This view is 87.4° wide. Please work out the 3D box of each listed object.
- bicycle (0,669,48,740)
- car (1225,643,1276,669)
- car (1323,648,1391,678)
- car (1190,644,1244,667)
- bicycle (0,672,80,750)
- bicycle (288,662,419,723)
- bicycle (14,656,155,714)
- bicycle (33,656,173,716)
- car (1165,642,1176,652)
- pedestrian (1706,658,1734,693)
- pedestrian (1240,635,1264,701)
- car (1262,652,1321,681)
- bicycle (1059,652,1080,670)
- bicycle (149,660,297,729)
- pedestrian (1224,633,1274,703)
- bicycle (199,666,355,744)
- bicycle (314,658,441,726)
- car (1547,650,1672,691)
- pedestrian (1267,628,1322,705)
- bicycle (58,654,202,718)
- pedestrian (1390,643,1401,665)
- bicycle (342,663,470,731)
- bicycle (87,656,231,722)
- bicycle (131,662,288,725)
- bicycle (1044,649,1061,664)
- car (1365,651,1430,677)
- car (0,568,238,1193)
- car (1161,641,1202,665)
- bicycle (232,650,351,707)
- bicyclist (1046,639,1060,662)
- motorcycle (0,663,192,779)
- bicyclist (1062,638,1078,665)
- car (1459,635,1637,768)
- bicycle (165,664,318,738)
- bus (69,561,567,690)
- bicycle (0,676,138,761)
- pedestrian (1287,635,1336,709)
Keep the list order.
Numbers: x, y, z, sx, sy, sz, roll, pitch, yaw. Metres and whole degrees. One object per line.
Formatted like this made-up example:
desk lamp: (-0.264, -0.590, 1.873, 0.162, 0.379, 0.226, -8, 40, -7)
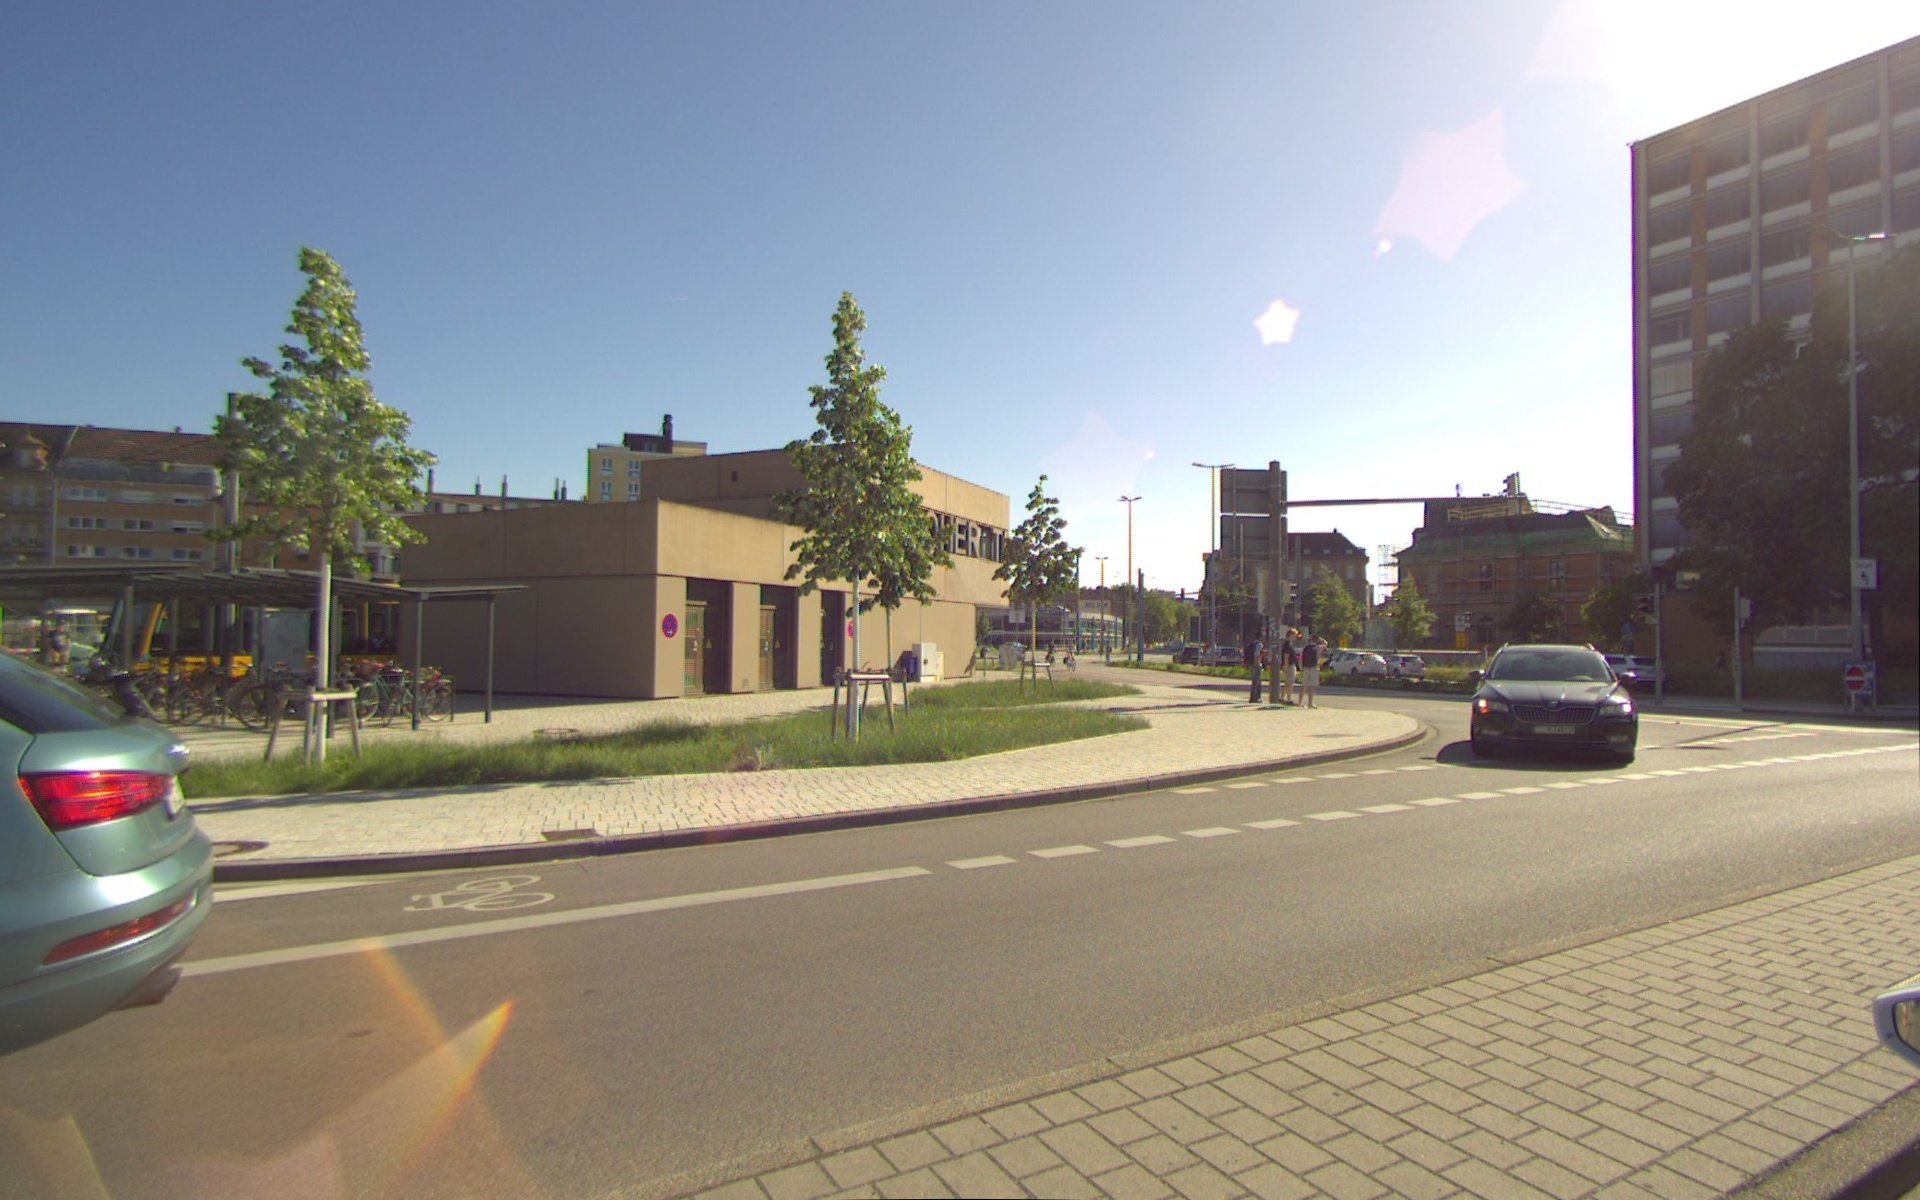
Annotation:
bicycle: (-14.203, 1.524, 14.377, 0.399, 0.985, 1.683, 2, 0, 22)
car: (20.035, 3.836, 69.435, 1.810, 1.653, 4.382, 1, -2, -8)
car: (21.438, 3.381, 54.396, 1.712, 1.454, 3.842, 1, -2, -10)
car: (17.326, 3.743, 67.892, 1.810, 1.406, 4.895, 1, -2, -8)
bicycle: (-13.233, 1.542, 13.814, 0.399, 0.985, 1.683, 2, 0, 22)
bicycle: (-11.766, 1.765, 19.573, 0.679, 1.011, 2.140, 2, 0, 26)
bicycle: (-17.774, 1.695, 20.458, 0.524, 1.051, 2.070, 5, 0, 26)
bicycle: (-16.886, 1.675, 19.850, 0.524, 1.051, 2.070, -2, -2, 26)
car: (42.952, 9.526, 204.811, 1.959, 2.040, 4.003, 0, -2, 7)
pedestrian: (35.807, 3.553, 47.325, 0.549, 1.591, 0.861, 0, -4, -11)
pedestrian: (7.873, 1.833, 27.091, 0.585, 1.751, 0.580, 0, -2, 14)
car: (20.695, 4.130, 62.890, 1.810, 1.653, 4.382, 1, -2, -8)
bicycle: (6.257, 3.461, 57.261, 0.727, 1.008, 1.989, 1, -4, -8)
bicycle: (-12.901, 1.628, 17.658, 0.524, 1.051, 2.070, 2, 0, 26)
pedestrian: (7.302, 1.729, 25.419, 0.831, 1.711, 0.896, 5, -5, -34)
bicycle: (-10.906, 1.648, 16.135, 0.524, 1.051, 2.070, 2, 0, 26)
bicycle: (-10.800, 1.681, 18.700, 0.594, 1.093, 2.053, 2, 0, 25)
car: (28.783, 3.096, 44.716, 1.812, 1.653, 4.829, 1, -2, -12)
pedestrian: (8.229, 1.641, 24.717, 1.085, 1.822, 0.703, 2, -5, -16)
bicycle: (-15.905, 1.622, 19.321, 0.524, 1.051, 2.070, 5, 1, 26)
pedestrian: (32.414, 4.015, 74.740, 0.636, 1.637, 0.548, 0, -2, 10)
bicycle: (-9.970, 1.719, 18.163, 0.524, 1.051, 2.070, 2, 0, 26)
bicycle: (-15.019, 1.639, 18.907, 0.524, 1.051, 2.070, 5, 1, 26)
bicycle: (-13.660, 1.678, 18.374, 0.673, 0.956, 2.233, 2, 0, 25)
bicycle: (6.016, 3.691, 65.113, 0.674, 0.930, 1.989, 1, -4, -7)
car: (26.187, 3.831, 60.241, 1.712, 1.454, 3.842, 1, -2, -11)
car: (-4.355, 0.719, 2.368, 4.215, 1.602, 1.777, 2, -4, -35)
car: (16.517, 3.935, 75.126, 1.809, 1.653, 4.386, 1, -2, -4)
bicycle: (-13.920, 1.613, 20.994, 0.524, 1.051, 2.070, 2, 0, 26)
bicyclist: (6.021, 3.269, 65.140, 0.674, 1.440, 1.127, 1, -4, -8)
motorcycle: (-10.851, 1.445, 12.478, 0.558, 1.235, 2.087, 0, -1, 21)
bicyclist: (6.261, 2.958, 57.286, 0.727, 1.519, 1.071, 1, -3, -7)
car: (8.331, 1.314, 14.056, 1.789, 1.524, 4.772, -3, -4, 33)
bicycle: (-11.981, 1.651, 16.832, 0.524, 1.051, 2.070, 2, 0, 26)
bus: (-18.526, 0.862, 31.162, 2.810, 3.112, 13.620, 0, -2, 25)
bicycle: (-12.205, 1.572, 13.579, 0.399, 0.985, 1.683, 2, 0, 22)
pedestrian: (8.337, 1.709, 23.858, 0.776, 1.711, 0.792, 3, -5, -16)
